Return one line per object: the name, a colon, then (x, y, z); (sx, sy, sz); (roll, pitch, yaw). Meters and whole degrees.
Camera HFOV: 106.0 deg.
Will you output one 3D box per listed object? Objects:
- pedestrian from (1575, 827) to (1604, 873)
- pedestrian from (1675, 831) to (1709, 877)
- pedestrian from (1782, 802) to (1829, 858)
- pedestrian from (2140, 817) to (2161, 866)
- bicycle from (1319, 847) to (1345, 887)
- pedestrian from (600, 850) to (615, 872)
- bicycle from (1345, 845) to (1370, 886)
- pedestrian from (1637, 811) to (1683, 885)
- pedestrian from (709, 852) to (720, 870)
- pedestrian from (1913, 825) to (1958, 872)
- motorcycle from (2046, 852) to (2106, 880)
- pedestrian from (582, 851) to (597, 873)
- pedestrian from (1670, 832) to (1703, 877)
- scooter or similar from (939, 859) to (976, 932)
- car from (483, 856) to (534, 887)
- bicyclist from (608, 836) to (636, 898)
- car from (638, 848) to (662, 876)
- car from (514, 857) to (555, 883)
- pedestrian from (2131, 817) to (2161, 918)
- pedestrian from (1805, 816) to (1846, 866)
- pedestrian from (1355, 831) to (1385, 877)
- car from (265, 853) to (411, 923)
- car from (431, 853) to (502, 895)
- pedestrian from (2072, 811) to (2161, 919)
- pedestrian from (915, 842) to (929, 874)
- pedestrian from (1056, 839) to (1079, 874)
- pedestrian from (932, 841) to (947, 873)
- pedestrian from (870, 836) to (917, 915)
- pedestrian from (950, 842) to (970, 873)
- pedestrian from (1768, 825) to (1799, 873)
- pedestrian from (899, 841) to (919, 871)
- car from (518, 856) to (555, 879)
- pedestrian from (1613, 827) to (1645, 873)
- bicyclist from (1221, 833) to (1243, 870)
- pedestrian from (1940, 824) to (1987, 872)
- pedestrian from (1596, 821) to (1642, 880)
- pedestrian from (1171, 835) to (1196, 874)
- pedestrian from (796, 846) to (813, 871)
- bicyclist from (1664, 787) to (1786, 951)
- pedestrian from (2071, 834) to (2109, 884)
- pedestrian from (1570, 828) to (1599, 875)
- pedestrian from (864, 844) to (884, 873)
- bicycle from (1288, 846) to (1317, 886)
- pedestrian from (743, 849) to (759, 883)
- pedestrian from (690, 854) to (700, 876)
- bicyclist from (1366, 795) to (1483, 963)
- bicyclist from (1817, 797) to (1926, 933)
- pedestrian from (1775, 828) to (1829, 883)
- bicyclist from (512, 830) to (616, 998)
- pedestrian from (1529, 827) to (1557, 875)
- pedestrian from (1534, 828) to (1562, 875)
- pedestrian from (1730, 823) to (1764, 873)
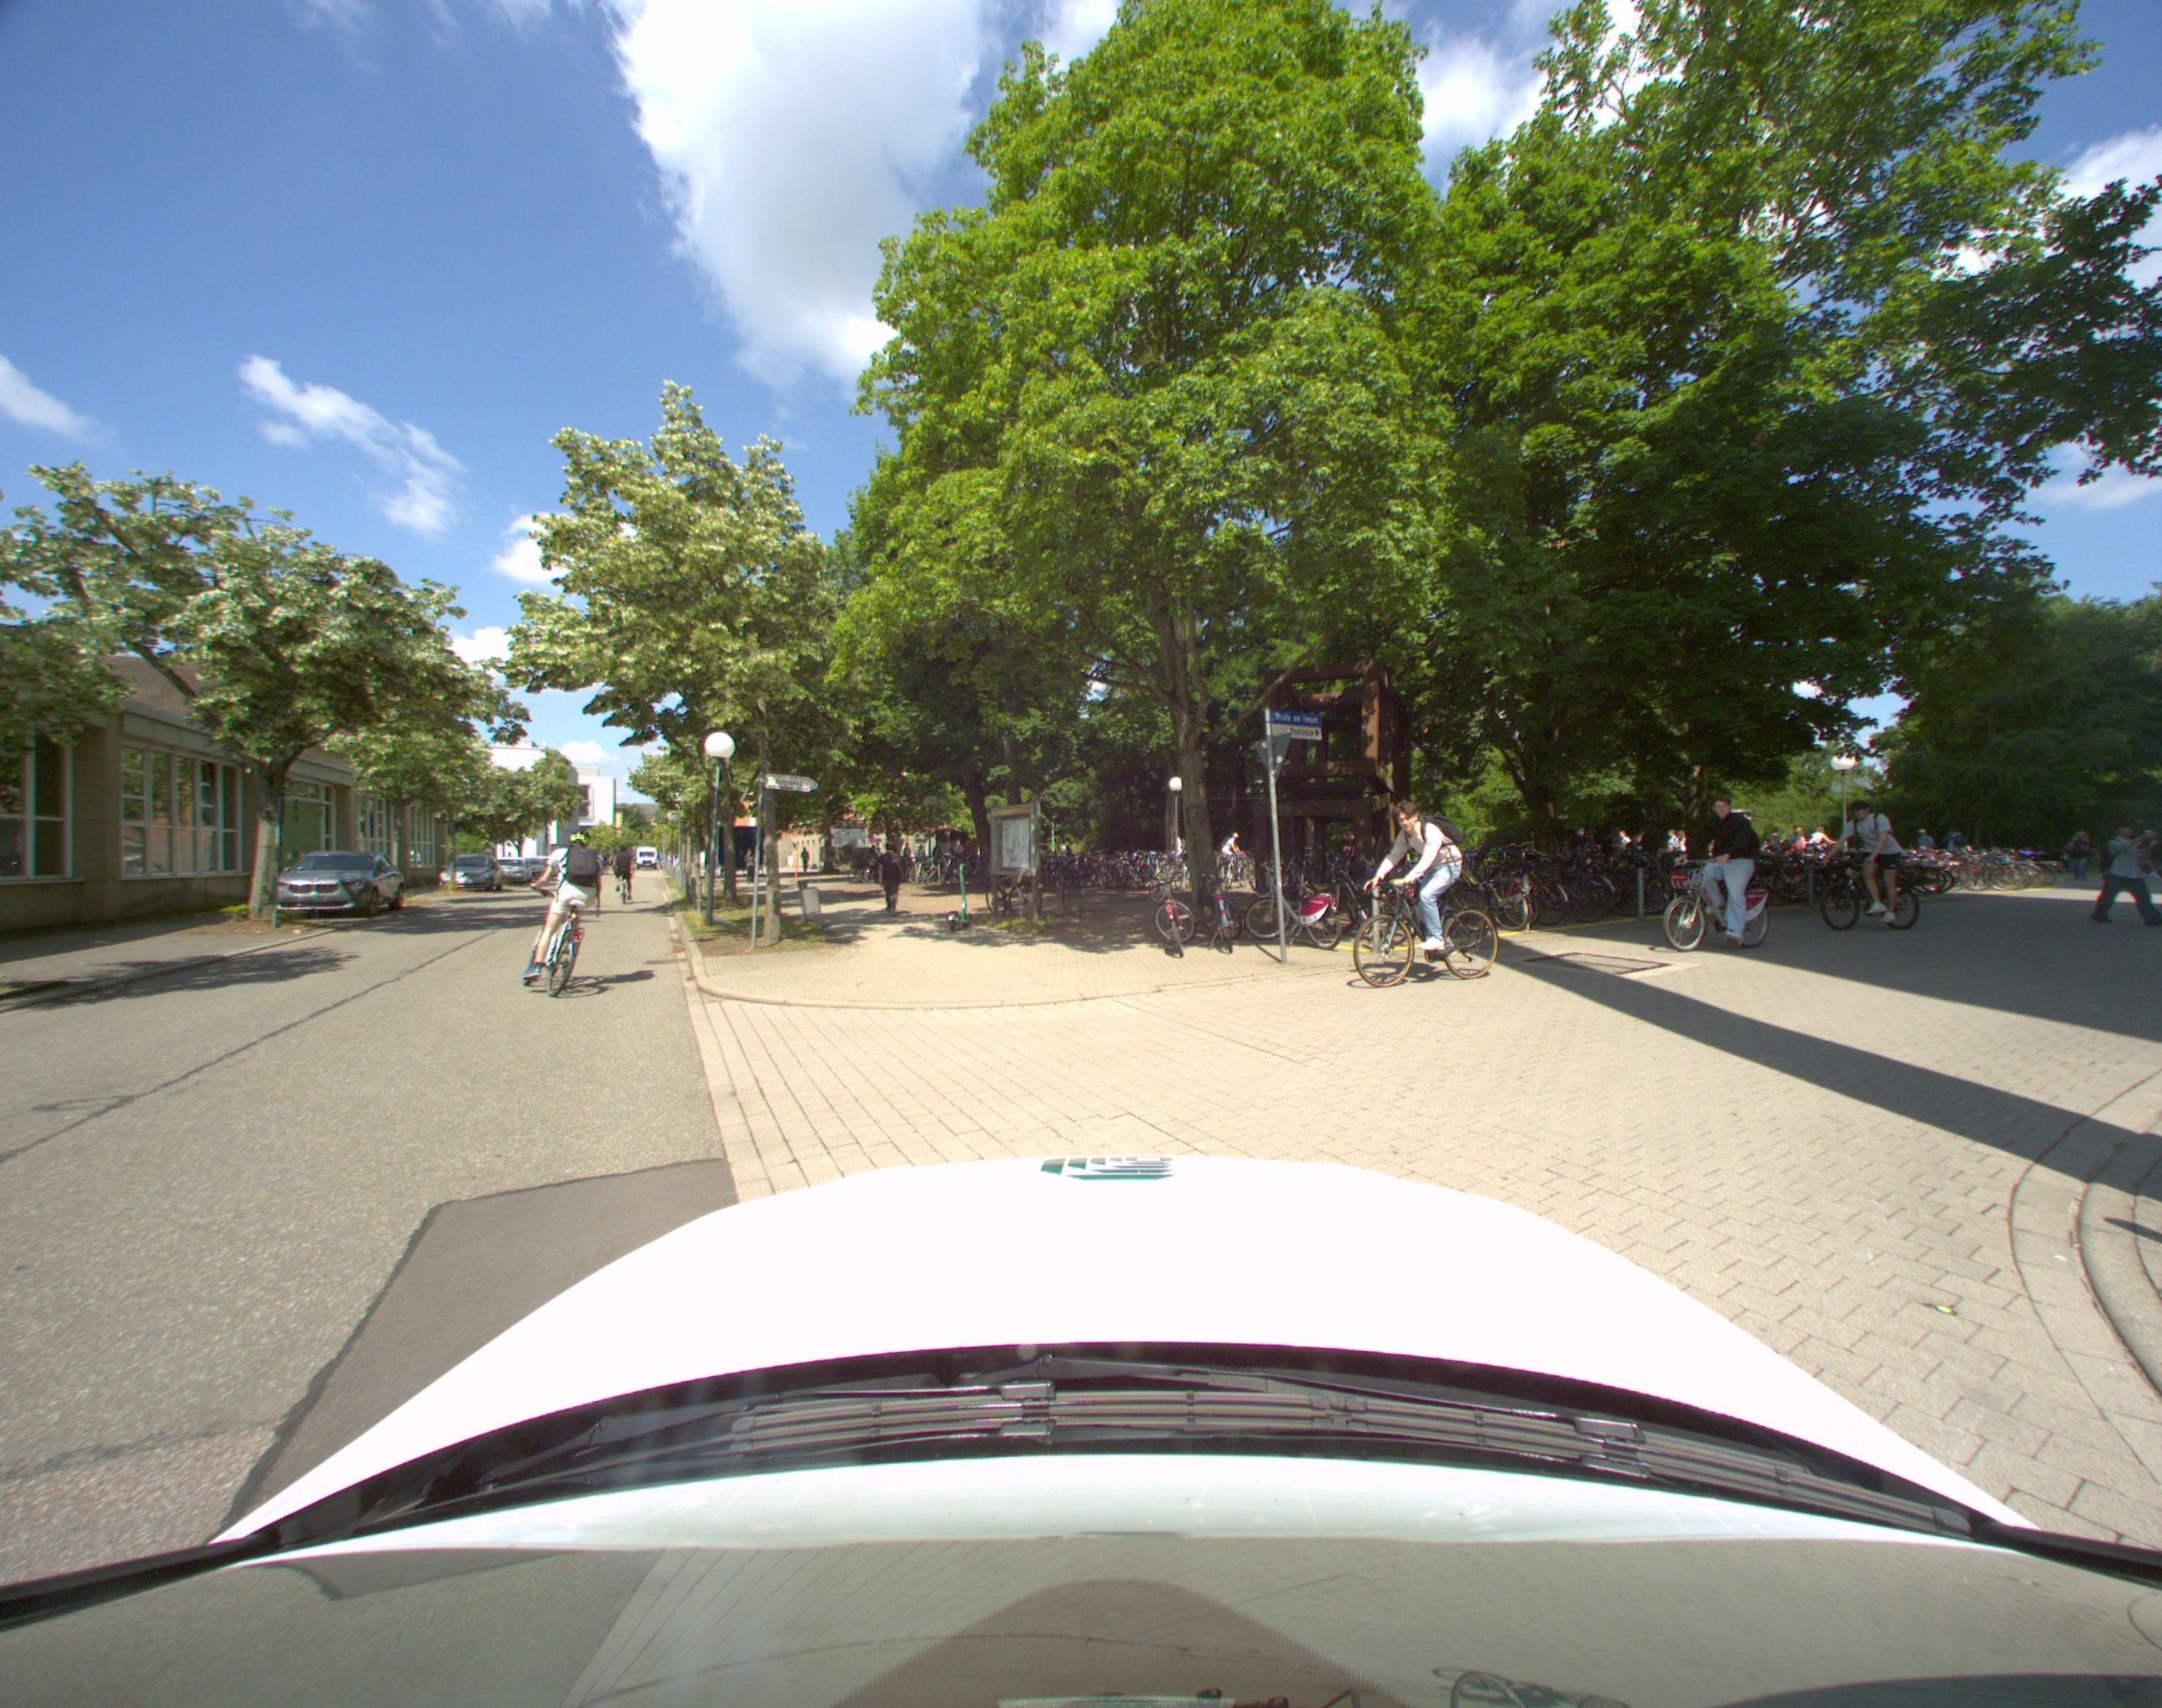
pedestrian: (19.024, -0.149, 30.485); (0.895, 1.679, 0.775); (0, 1, 28)
pedestrian: (22.533, -0.004, 30.041); (0.895, 1.679, 0.775); (0, 1, 28)
pedestrian: (24.218, -0.796, 27.226); (0.933, 1.835, 0.687); (-1, 0, 6)
pedestrian: (41.070, -0.480, 30.834); (1.039, 1.835, 0.616); (0, 0, 11)
bicycle: (7.293, 0.360, 23.657); (0.496, 1.108, 1.790); (1, 1, 24)
pedestrian: (-39.423, 0.566, 67.761); (0.895, 1.774, 0.775); (1, 1, 39)
bicycle: (7.936, 0.310, 23.342); (0.496, 1.108, 1.790); (1, 1, 24)
pedestrian: (14.523, -0.150, 20.443); (0.761, 1.806, 0.713); (0, 1, 20)
pedestrian: (-37.310, 0.686, 82.981); (0.774, 1.774, 0.896); (-1, 1, -40)
pedestrian: (33.741, -0.219, 32.171); (0.977, 1.803, 0.770); (0, 1, 0)
motorcycle: (41.177, 0.470, 33.731); (0.469, 1.047, 2.034); (0, 2, 15)
pedestrian: (-40.184, 0.628, 66.601); (0.895, 1.774, 0.775); (1, 1, 39)
pedestrian: (22.905, 0.011, 30.817); (0.895, 1.679, 0.775); (0, 1, 28)
scooter or similar: (-2.151, 0.705, 14.272); (0.290, 1.195, 1.188); (-1, 0, 8)
car: (-31.481, 0.923, 44.908); (1.844, 1.541, 4.495); (-1, 0, -30)
bicyclist: (-14.359, 0.404, 25.461); (0.673, 1.875, 0.818); (-2, 0, -34)
car: (-48.809, 0.939, 92.109); (2.275, 3.014, 5.685); (1, -1, -29)
car: (-35.423, 0.987, 52.874); (1.844, 1.541, 4.495); (-1, 0, -30)
pedestrian: (17.680, 0.210, 13.019); (0.799, 1.617, 0.744); (-1, 0, 16)
pedestrian: (26.058, -0.462, 28.498); (0.680, 1.724, 0.927); (-1, 0, -35)
pedestrian: (11.450, 0.003, 32.231); (0.895, 1.774, 0.775); (1, 1, 39)
car: (-19.157, 0.790, 21.242); (1.844, 1.617, 4.495); (1, 0, -30)
car: (-26.382, 0.816, 35.110); (1.844, 1.633, 4.495); (-1, 0, -30)
pedestrian: (16.761, 0.172, 13.053); (0.669, 1.670, 0.901); (-1, 0, 9)
pedestrian: (-8.774, 0.221, 44.865); (0.505, 1.771, 0.664); (0, 1, -35)
pedestrian: (-0.709, 0.130, 41.811); (0.896, 1.774, 0.774); (1, 1, 44)
pedestrian: (-7.891, 0.141, 45.388); (0.612, 1.774, 0.652); (0, 1, -37)
pedestrian: (-4.106, 0.450, 17.801); (0.730, 1.684, 0.865); (-1, 0, -31)
pedestrian: (-7.041, 0.193, 47.263); (0.896, 1.802, 0.774); (1, 1, 44)
pedestrian: (25.669, -0.172, 29.767); (0.678, 1.724, 0.736); (-1, 0, 26)
pedestrian: (-10.070, 0.098, 47.667); (0.896, 1.774, 0.774); (1, 1, 44)
car: (-38.603, 0.944, 57.842); (1.844, 1.541, 4.495); (-1, 0, -30)
pedestrian: (20.522, -0.159, 30.518); (0.895, 1.679, 0.775); (0, 1, 28)
bicyclist: (6.414, -0.104, 34.526); (0.712, 1.568, 0.599); (1, 1, 41)
pedestrian: (33.850, -0.236, 31.247); (0.877, 1.815, 0.834); (0, 1, -3)
pedestrian: (15.759, -0.117, 23.877); (0.898, 1.702, 0.772); (0, 1, 10)
pedestrian: (4.724, 0.015, 37.437); (0.772, 1.774, 0.899); (0, 1, -28)
pedestrian: (-19.683, 0.298, 57.978); (0.896, 1.774, 0.774); (1, 1, 44)
bicyclist: (7.756, 0.169, 9.833); (0.967, 1.887, 0.672); (0, 1, -13)
pedestrian: (34.756, 0.170, 28.053); (0.911, 1.679, 0.761); (-1, 0, -37)
pedestrian: (19.394, -0.092, 31.378); (0.895, 1.774, 0.775); (0, 1, 28)
pedestrian: (-12.757, 0.286, 50.095); (0.776, 1.774, 0.925); (1, 1, 44)
bicycle: (6.460, 0.332, 23.678); (0.496, 1.108, 1.918); (1, 1, 24)
pedestrian: (-14.781, 0.525, 36.502); (0.570, 1.520, 0.835); (0, 1, -18)
pedestrian: (-26.543, 0.755, 55.956); (0.623, 1.520, 0.730); (0, 1, -26)
bicyclist: (3.350, 0.221, 7.989); (0.870, 1.573, 0.640); (-1, 1, -5)
bicyclist: (11.482, 0.137, 11.847); (0.867, 1.891, 0.800); (0, 1, -19)
pedestrian: (23.168, 0.039, 26.190); (1.056, 1.724, 0.720); (-1, 0, 4)
bicyclist: (-5.833, 0.647, 9.192); (0.887, 1.801, 0.609); (-2, 0, 31)
pedestrian: (17.384, -0.113, 30.689); (0.895, 1.774, 0.775); (0, 1, 28)
pedestrian: (17.941, -0.115, 31.309); (0.895, 1.774, 0.775); (0, 1, 28)
pedestrian: (23.452, -0.224, 28.688); (0.733, 1.724, 0.680); (0, 1, -30)
